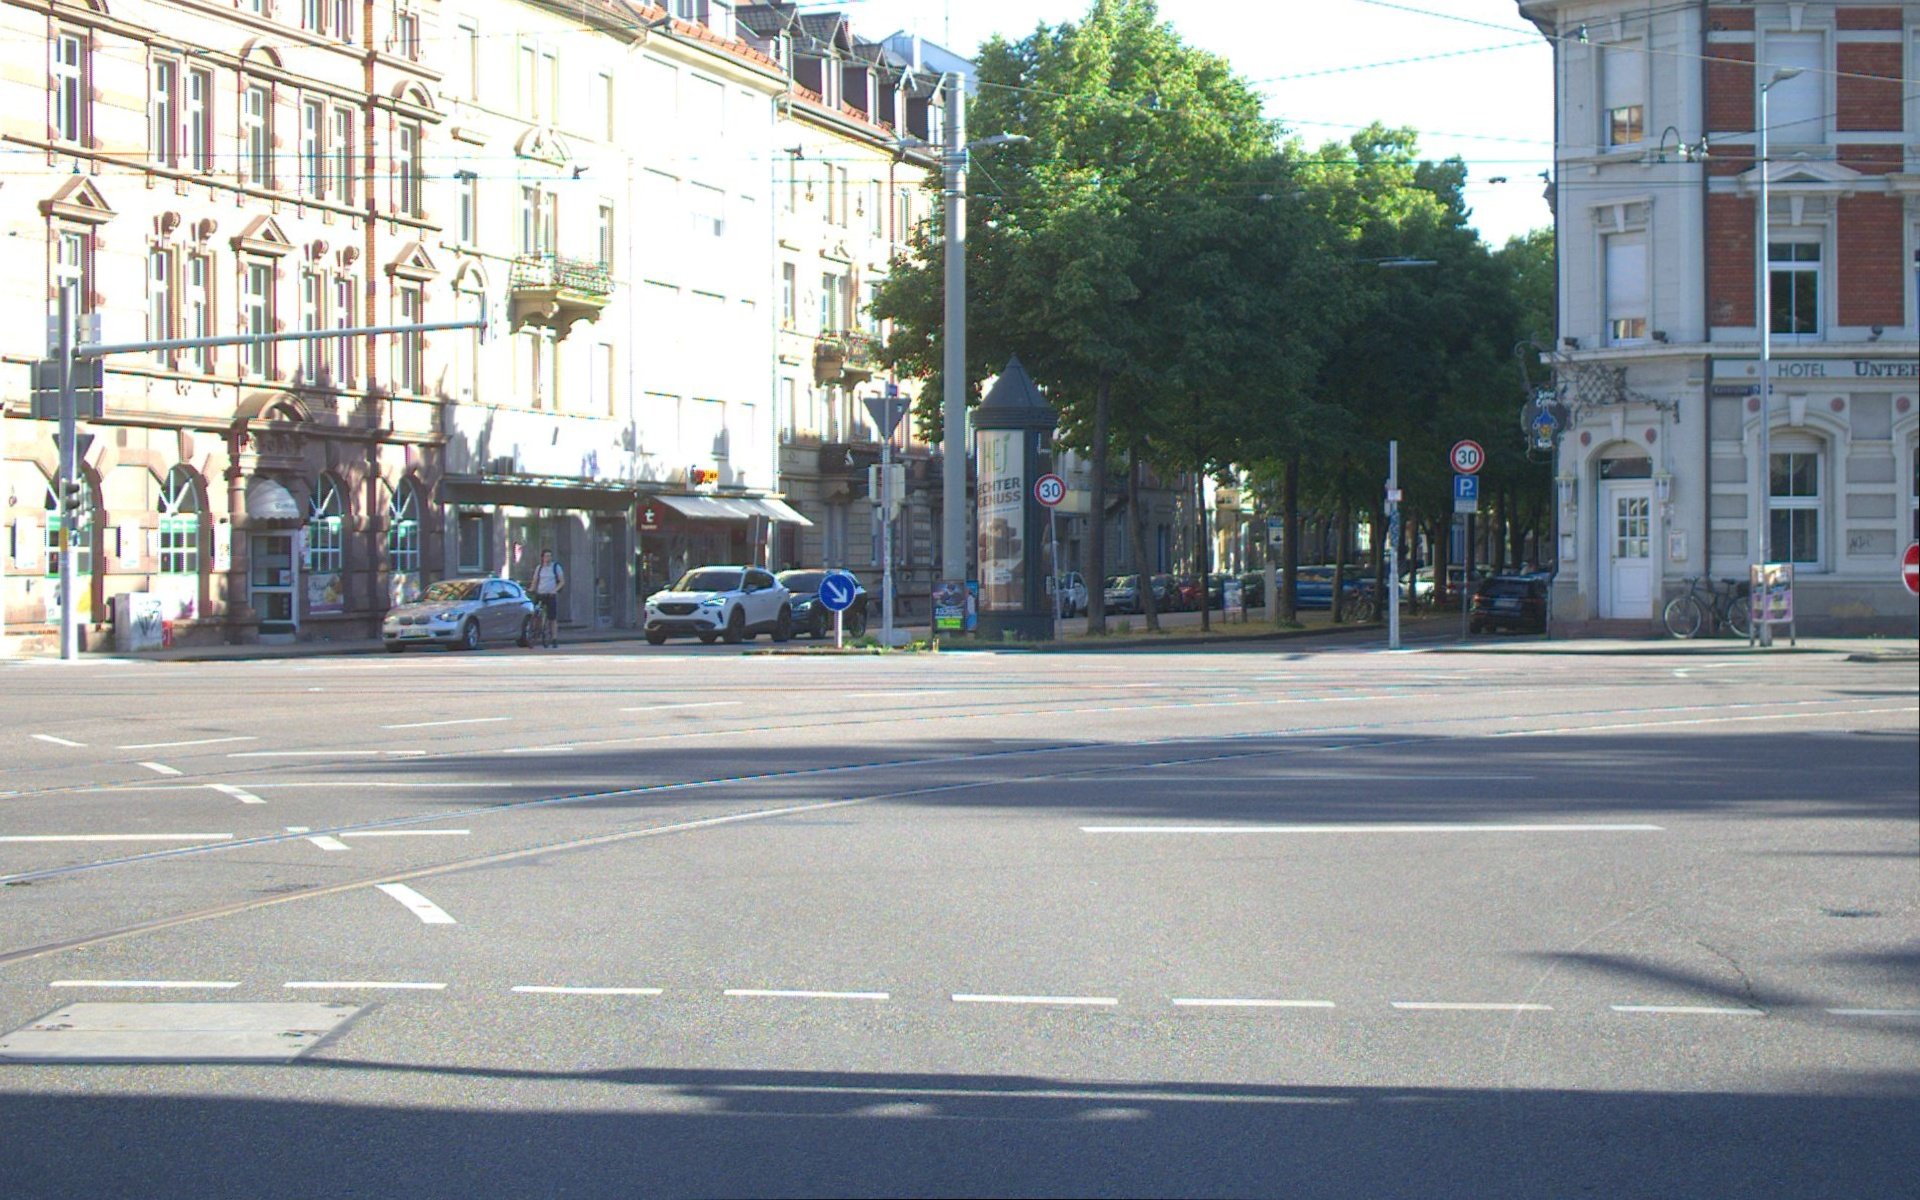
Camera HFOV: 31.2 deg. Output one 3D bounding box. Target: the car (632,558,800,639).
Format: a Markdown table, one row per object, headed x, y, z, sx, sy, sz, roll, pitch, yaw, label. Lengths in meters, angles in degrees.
| x | y | z | sx | sy | sz | roll | pitch | yaw | label |
| --- | --- | --- | --- | --- | --- | --- | --- | --- | --- |
| -4.752 | -0.052 | 67.475 | 1.995 | 1.511 | 4.166 | 0 | 1 | 16 | car |

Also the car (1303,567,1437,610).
| x | y | z | sx | sy | sz | roll | pitch | yaw | label |
| --- | --- | --- | --- | --- | --- | --- | --- | --- | --- |
| 12.577 | -0.347 | 105.398 | 3.989 | 1.284 | 1.694 | 0 | 1 | 11 | car |

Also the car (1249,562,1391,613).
| x | y | z | sx | sy | sz | roll | pitch | yaw | label |
| --- | --- | --- | --- | --- | --- | --- | --- | --- | --- |
| 10.447 | -0.360 | 99.689 | 3.989 | 1.450 | 1.681 | 0 | 1 | 11 | car |

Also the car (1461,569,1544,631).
| x | y | z | sx | sy | sz | roll | pitch | yaw | label |
| --- | --- | --- | --- | --- | --- | --- | --- | --- | --- |
| 13.047 | -0.024 | 82.533 | 1.756 | 1.415 | 3.998 | 0 | 1 | 12 | car |

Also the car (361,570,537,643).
| x | y | z | sx | sy | sz | roll | pitch | yaw | label |
| --- | --- | --- | --- | --- | --- | --- | --- | --- | --- |
| -9.928 | 0.103 | 67.048 | 1.995 | 1.357 | 3.816 | 0 | 1 | 16 | car |

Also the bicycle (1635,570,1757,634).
| x | y | z | sx | sy | sz | roll | pitch | yaw | label |
| --- | --- | --- | --- | --- | --- | --- | --- | --- | --- |
| 12.269 | 0.026 | 57.347 | 1.953 | 1.050 | 0.715 | 0 | 1 | 10 | bicycle |

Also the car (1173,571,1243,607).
| x | y | z | sx | sy | sz | roll | pitch | yaw | label |
| --- | --- | --- | --- | --- | --- | --- | --- | --- | --- |
| 9.882 | -0.447 | 136.608 | 1.995 | 1.400 | 4.166 | 0 | 1 | 16 | car |

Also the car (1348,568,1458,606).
| x | y | z | sx | sy | sz | roll | pitch | yaw | label |
| --- | --- | --- | --- | --- | --- | --- | --- | --- | --- |
| 14.363 | -0.428 | 111.471 | 3.435 | 1.235 | 1.576 | 0 | 1 | 11 | car |

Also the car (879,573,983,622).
| x | y | z | sx | sy | sz | roll | pitch | yaw | label |
| --- | --- | --- | --- | --- | --- | --- | --- | --- | --- |
| -0.843 | -0.090 | 102.095 | 1.995 | 1.400 | 4.166 | 0 | 1 | 16 | car |

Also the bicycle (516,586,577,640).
| x | y | z | sx | sy | sz | roll | pitch | yaw | label |
| --- | --- | --- | --- | --- | --- | --- | --- | --- | --- |
| -7.848 | 0.233 | 65.305 | 0.655 | 0.997 | 1.664 | 1 | 1 | 12 | bicycle |

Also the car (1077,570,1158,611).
| x | y | z | sx | sy | sz | roll | pitch | yaw | label |
| --- | --- | --- | --- | --- | --- | --- | --- | --- | --- |
| 5.652 | -0.338 | 122.584 | 1.995 | 1.400 | 4.166 | 0 | 1 | 16 | car |

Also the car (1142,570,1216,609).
| x | y | z | sx | sy | sz | roll | pitch | yaw | label |
| --- | --- | --- | --- | --- | --- | --- | --- | --- | --- |
| 8.405 | -0.415 | 131.412 | 1.995 | 1.400 | 4.166 | 0 | 1 | 16 | car |

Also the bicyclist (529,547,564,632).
| x | y | z | sx | sy | sz | roll | pitch | yaw | label |
| --- | --- | --- | --- | --- | --- | --- | --- | --- | --- |
| -7.840 | -0.202 | 65.198 | 0.489 | 1.596 | 0.666 | 0 | 1 | 10 | bicyclist |

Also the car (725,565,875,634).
| x | y | z | sx | sy | sz | roll | pitch | yaw | label |
| --- | --- | --- | --- | --- | --- | --- | --- | --- | --- |
| -3.399 | -0.040 | 73.649 | 1.995 | 1.400 | 4.166 | 0 | 1 | 16 | car |
